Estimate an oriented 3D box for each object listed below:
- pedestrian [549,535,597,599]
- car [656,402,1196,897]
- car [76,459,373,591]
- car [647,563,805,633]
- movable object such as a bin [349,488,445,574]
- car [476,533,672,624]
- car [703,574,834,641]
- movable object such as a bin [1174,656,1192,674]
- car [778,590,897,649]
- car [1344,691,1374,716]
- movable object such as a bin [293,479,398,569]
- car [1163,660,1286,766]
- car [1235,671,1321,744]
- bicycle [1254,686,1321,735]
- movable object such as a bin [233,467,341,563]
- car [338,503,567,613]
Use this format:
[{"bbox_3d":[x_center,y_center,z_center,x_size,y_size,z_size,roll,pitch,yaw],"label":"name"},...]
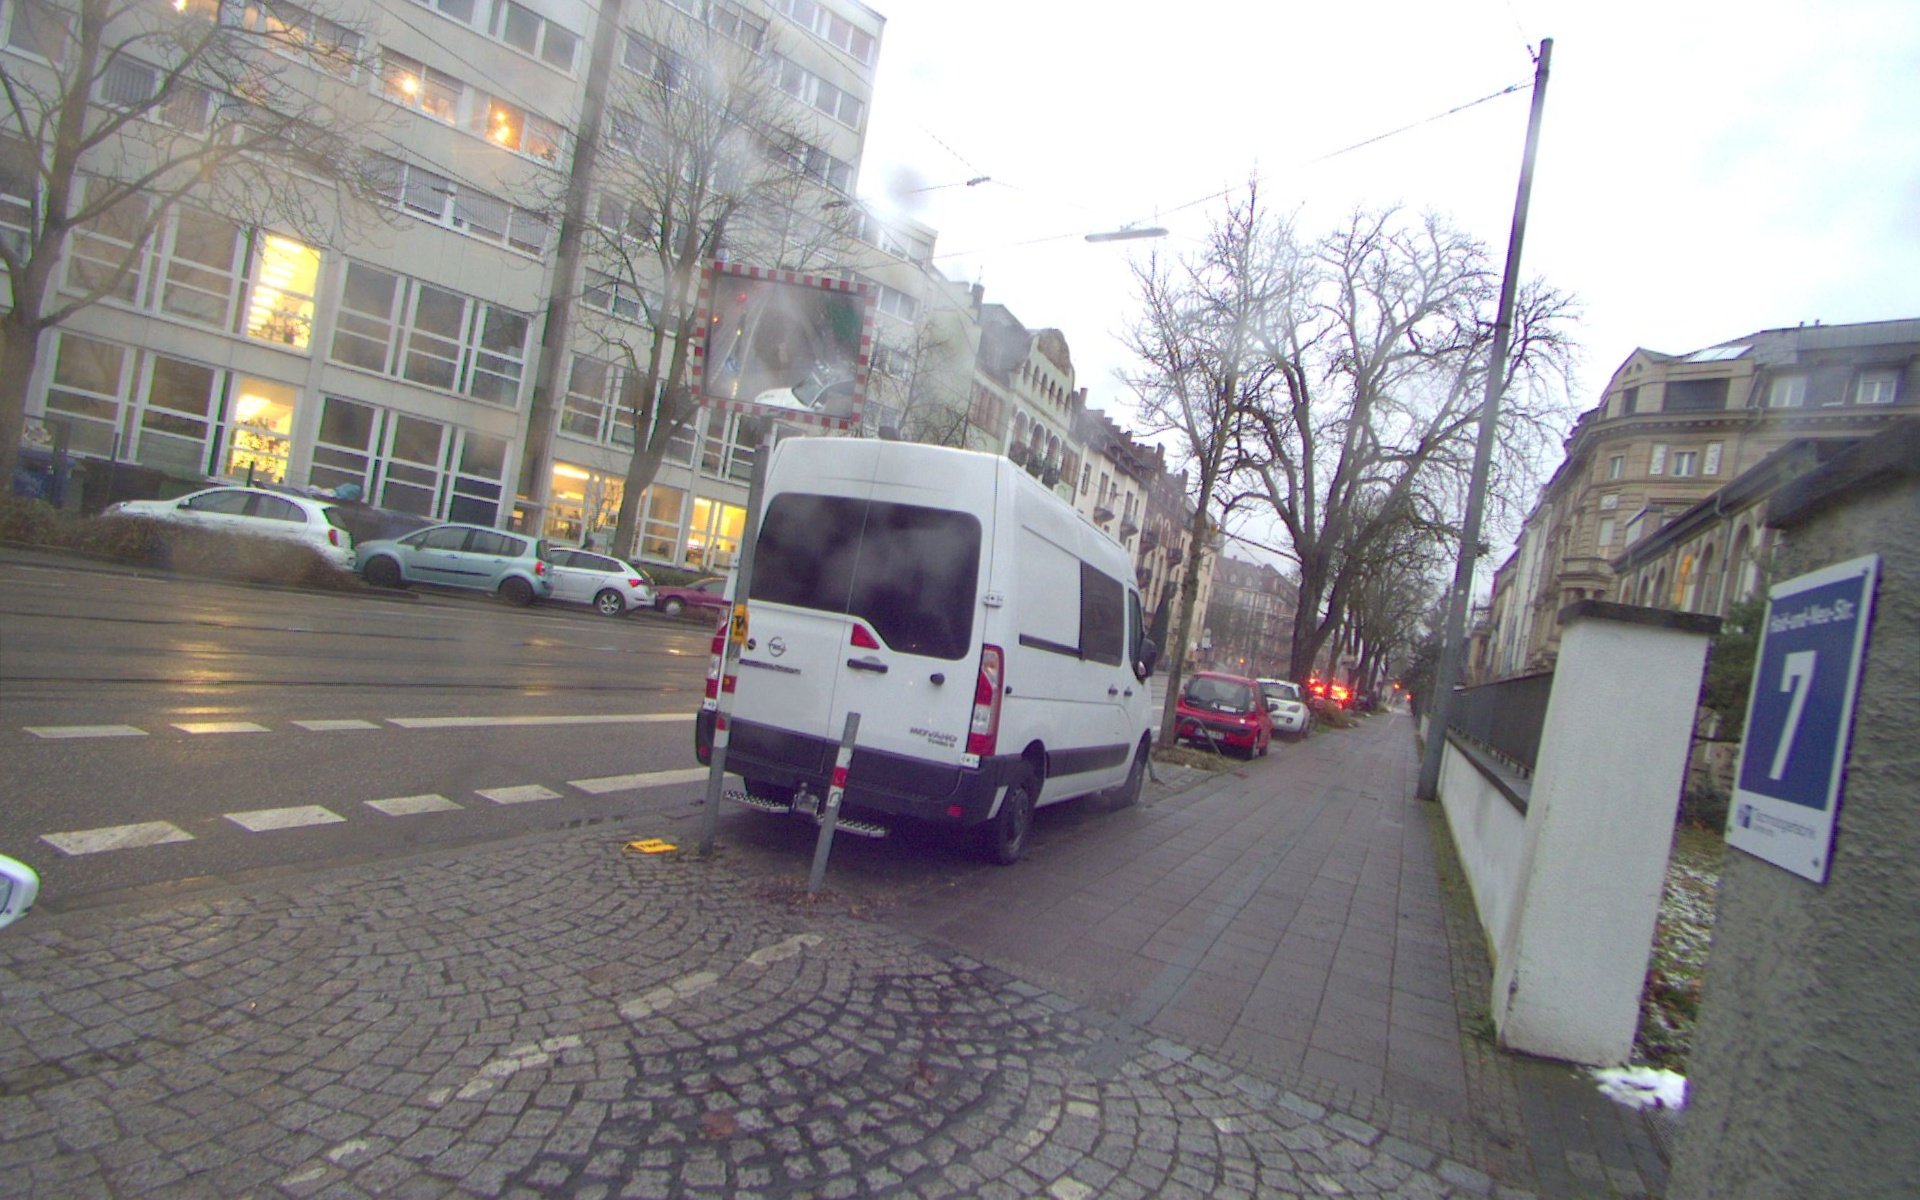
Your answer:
[{"bbox_3d":[-11.275,-0.957,29.321,0.588,1.697,0.973,9,1,25],"label":"pedestrian"},{"bbox_3d":[0.290,0.380,8.213,2.092,2.516,5.439,8,-1,22],"label":"car"},{"bbox_3d":[-13.043,-1.291,18.126,3.825,1.570,1.685,10,0,-20],"label":"car"},{"bbox_3d":[-7.030,-0.061,30.258,4.294,1.367,1.740,10,-1,-23],"label":"car"},{"bbox_3d":[-14.498,-1.772,25.931,1.547,1.883,1.316,10,1,26],"label":"movable object such as a bin"},{"bbox_3d":[-9.177,-0.472,24.213,3.934,1.460,1.735,10,-1,-8],"label":"car"},{"bbox_3d":[-6.252,0.257,33.077,3.936,1.480,1.734,10,-1,-10],"label":"car"},{"bbox_3d":[23.471,6.846,105.830,1.388,1.549,1.364,9,0,25],"label":"movable object such as a bin"},{"bbox_3d":[-4.411,0.684,36.196,3.802,1.440,1.728,10,0,-21],"label":"car"},{"bbox_3d":[28.380,7.319,71.494,1.652,1.477,4.043,9,-1,24],"label":"car"},{"bbox_3d":[-15.084,-1.854,24.715,1.547,1.883,1.392,10,1,26],"label":"movable object such as a bin"},{"bbox_3d":[5.163,2.104,19.328,1.618,1.541,3.573,11,0,22],"label":"car"},{"bbox_3d":[8.629,2.857,27.103,1.666,1.537,3.637,9,0,24],"label":"car"},{"bbox_3d":[9.604,3.224,29.504,1.688,1.084,0.663,9,1,25],"label":"bicycle"},{"bbox_3d":[-15.664,-1.966,23.447,1.547,1.883,1.316,10,1,26],"label":"movable object such as a bin"},{"bbox_3d":[-10.703,-0.860,21.523,3.943,1.582,1.730,10,0,-17],"label":"car"}]
